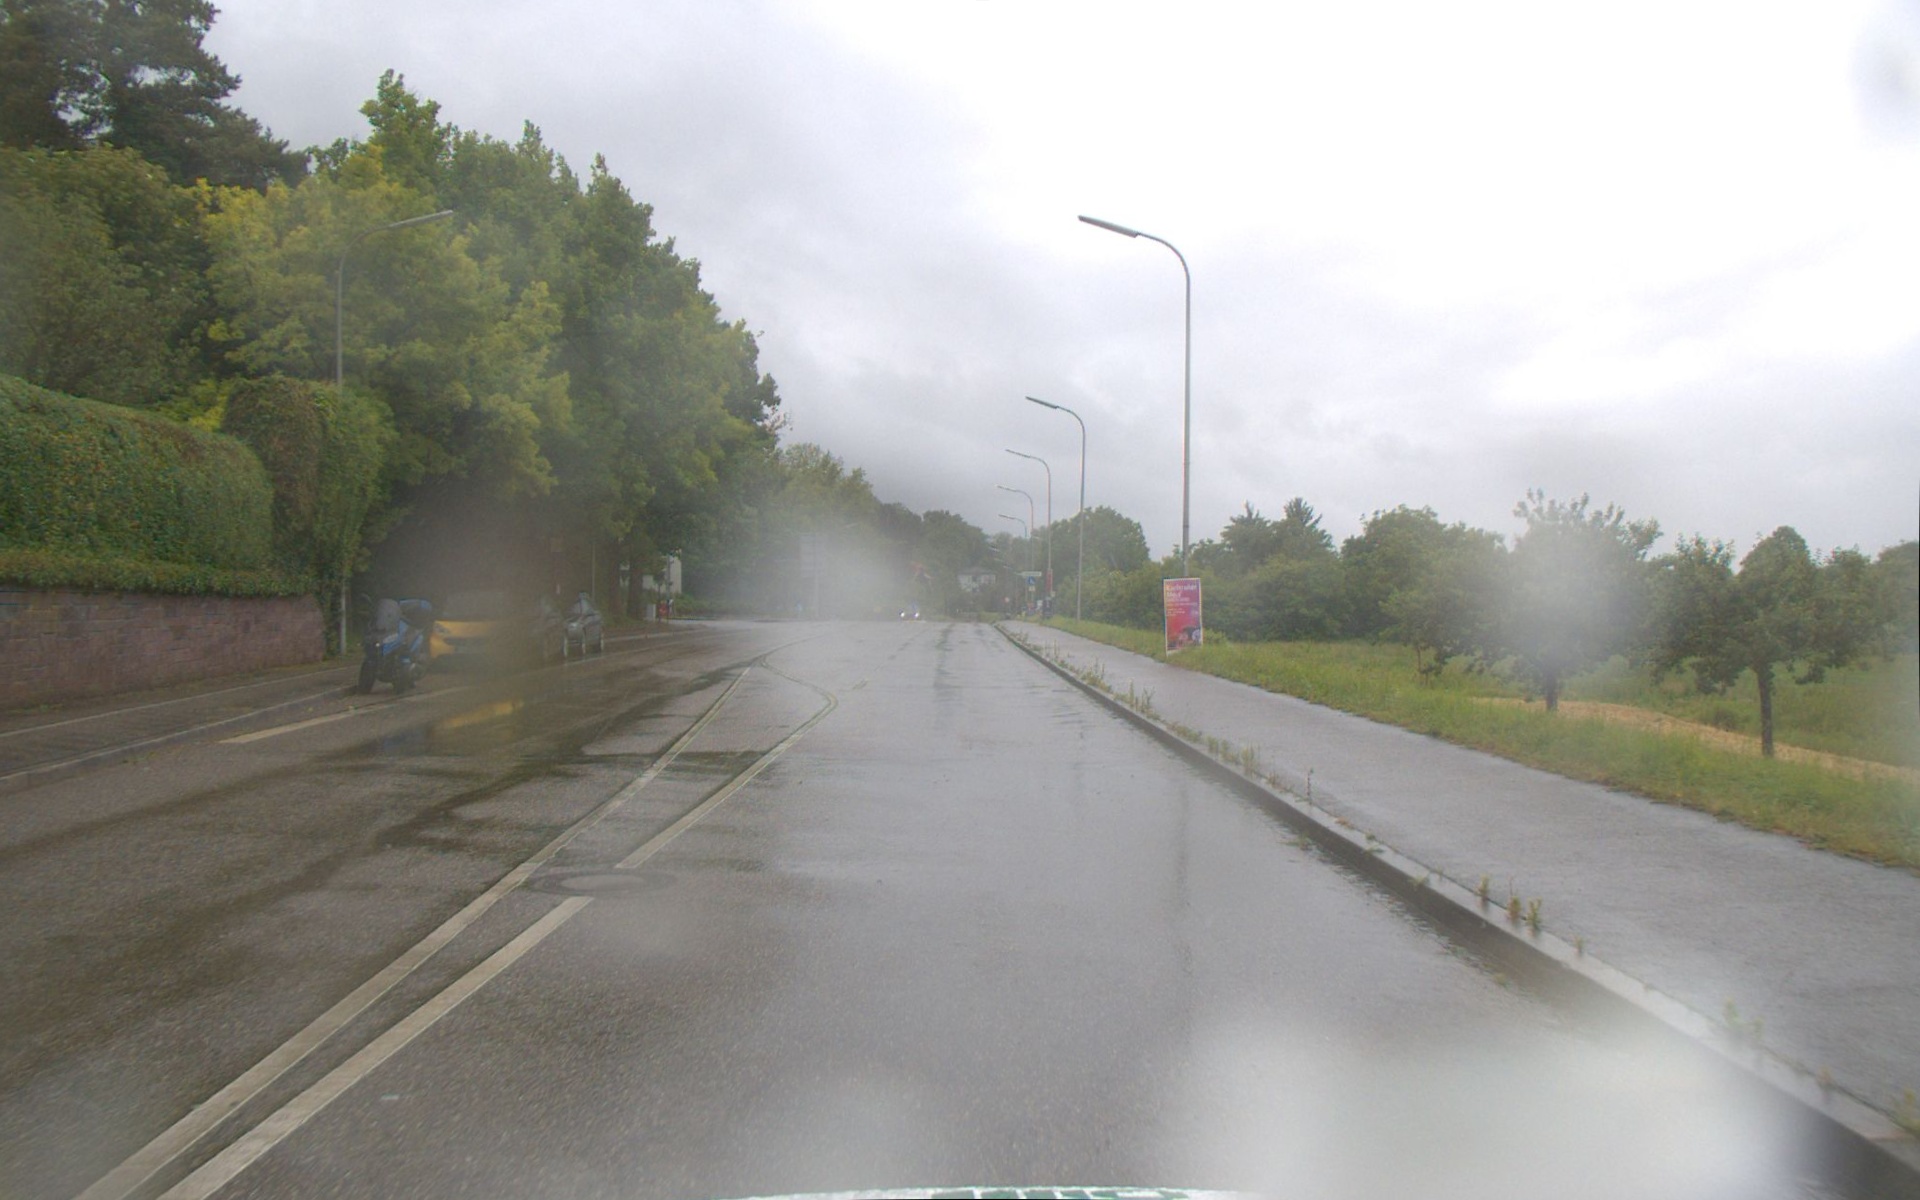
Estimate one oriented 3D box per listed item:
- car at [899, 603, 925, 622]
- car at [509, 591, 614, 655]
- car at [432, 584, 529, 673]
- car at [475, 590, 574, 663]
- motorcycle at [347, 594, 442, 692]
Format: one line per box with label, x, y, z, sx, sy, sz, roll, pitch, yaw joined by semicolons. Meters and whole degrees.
car;-4.574;1.215;158.332;1.756;1.793;4.003;1;0;9
car;-9.608;0.533;40.241;1.653;1.444;4.738;-1;0;-3
car;-8.922;0.512;30.945;1.407;1.564;2.813;0;0;-10
car;-9.128;0.530;34.920;1.405;1.444;4.098;0;0;-6
motorcycle;-8.273;0.599;24.295;0.821;1.364;2.495;0;0;-7
